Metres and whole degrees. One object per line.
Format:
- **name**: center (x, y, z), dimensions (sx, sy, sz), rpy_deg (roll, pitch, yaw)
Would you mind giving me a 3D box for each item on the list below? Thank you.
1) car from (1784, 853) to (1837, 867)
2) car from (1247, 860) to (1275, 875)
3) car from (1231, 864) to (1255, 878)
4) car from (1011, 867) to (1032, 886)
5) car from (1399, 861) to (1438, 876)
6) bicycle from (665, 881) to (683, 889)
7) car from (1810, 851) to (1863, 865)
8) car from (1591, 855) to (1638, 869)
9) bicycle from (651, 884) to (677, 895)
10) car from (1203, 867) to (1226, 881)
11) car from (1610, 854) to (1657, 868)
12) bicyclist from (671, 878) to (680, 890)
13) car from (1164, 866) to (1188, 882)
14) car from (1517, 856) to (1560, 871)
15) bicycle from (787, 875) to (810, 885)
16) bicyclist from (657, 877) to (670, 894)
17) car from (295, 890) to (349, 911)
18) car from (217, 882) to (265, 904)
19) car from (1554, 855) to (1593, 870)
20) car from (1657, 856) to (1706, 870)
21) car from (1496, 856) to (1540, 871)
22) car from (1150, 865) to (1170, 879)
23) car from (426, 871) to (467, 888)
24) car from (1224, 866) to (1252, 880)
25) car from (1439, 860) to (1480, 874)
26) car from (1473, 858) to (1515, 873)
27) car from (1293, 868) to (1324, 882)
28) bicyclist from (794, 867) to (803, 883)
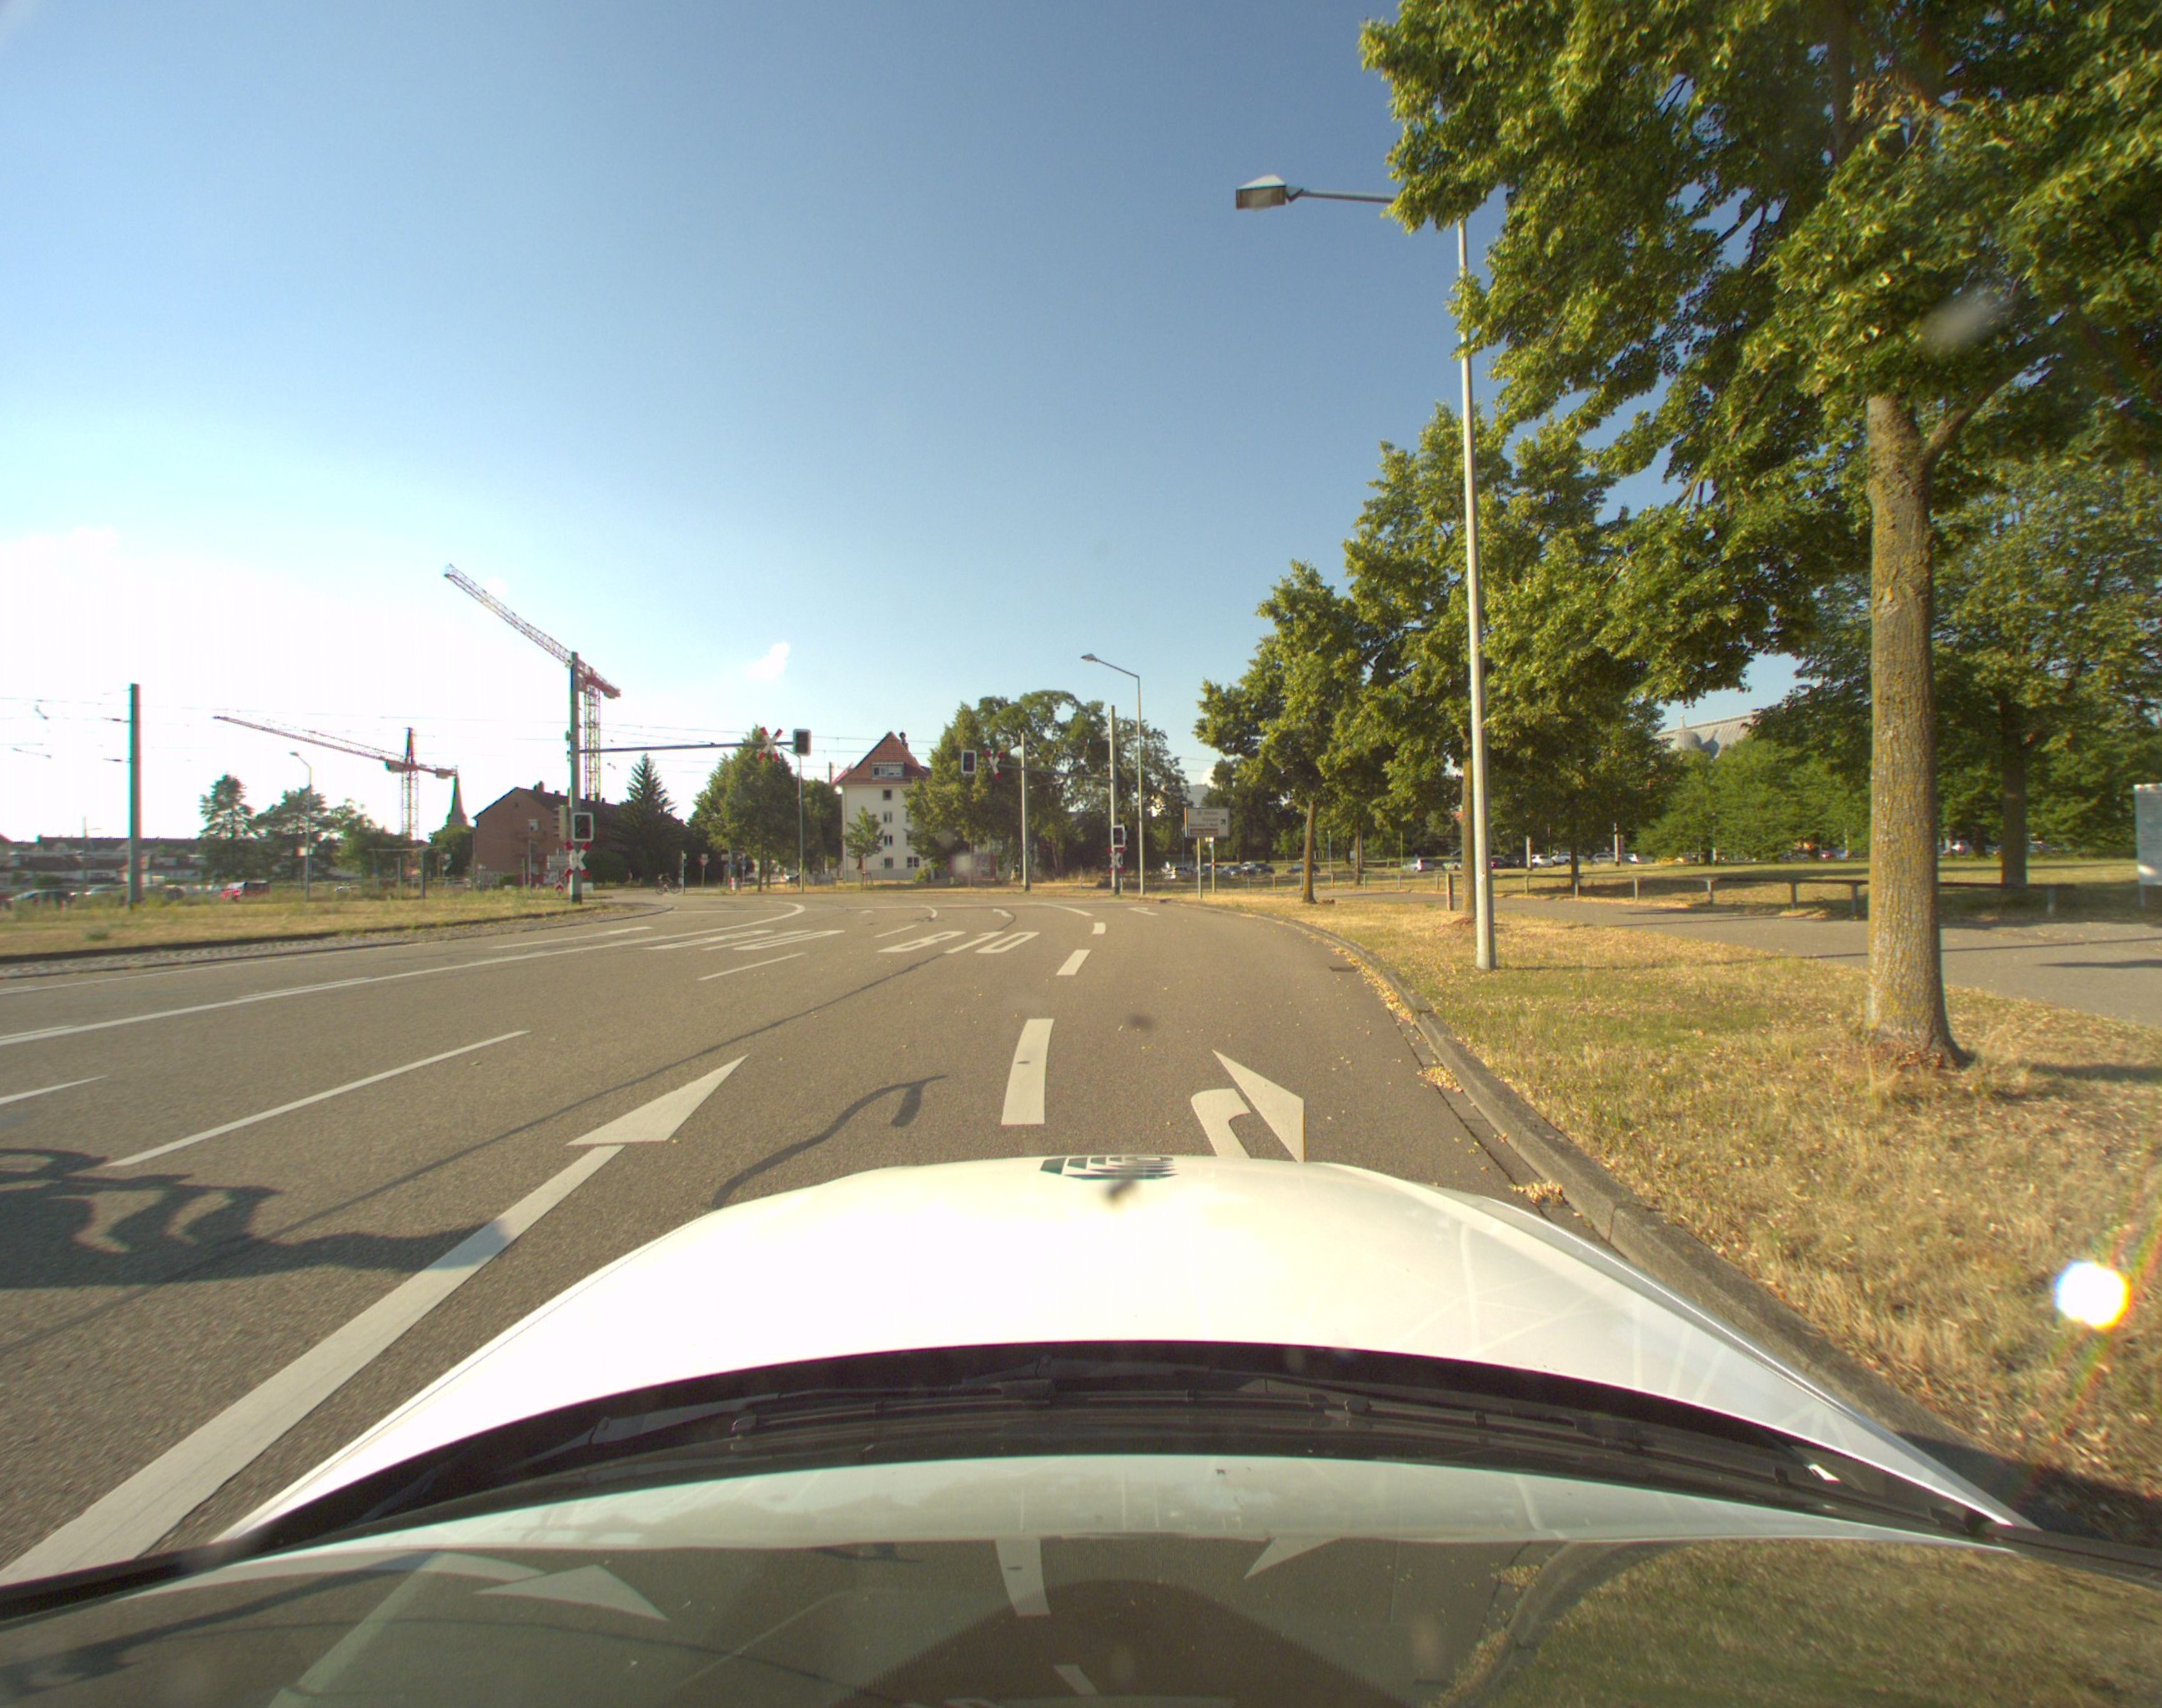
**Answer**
- **car**: center (78.316, 0.655, 87.544), dimensions (1.820, 1.403, 3.988), rpy_deg (-1, -1, -8)
- **car**: center (17.216, 1.305, 77.954), dimensions (1.598, 1.402, 3.963), rpy_deg (-1, -1, -4)
- **car**: center (17.801, 1.891, 89.774), dimensions (1.598, 1.402, 3.963), rpy_deg (-1, -1, -4)
- **car**: center (-5.425, 2.052, 74.413), dimensions (1.767, 1.618, 3.963), rpy_deg (-1, -1, -4)
- **car**: center (33.447, 1.412, 80.825), dimensions (1.820, 1.403, 3.988), rpy_deg (-1, -1, -8)
- **bicycle**: center (-53.267, 4.007, 106.556), dimensions (0.591, 0.963, 2.119), rpy_deg (-3, -2, 34)
- **car**: center (81.574, 0.490, 87.985), dimensions (1.820, 1.403, 3.988), rpy_deg (-1, -1, -8)
- **car**: center (54.717, 0.832, 83.552), dimensions (1.820, 1.403, 3.988), rpy_deg (-1, -1, -8)
- **bicycle**: center (-36.366, 3.092, 71.032), dimensions (2.003, 0.825, 0.425), rpy_deg (-1, -1, -38)
- **car**: center (14.632, 2.189, 89.538), dimensions (1.598, 1.402, 3.963), rpy_deg (-1, -1, -4)
- **car**: center (57.180, 0.748, 84.358), dimensions (1.820, 1.403, 3.988), rpy_deg (-1, -1, -8)
- **bicyclist**: center (-53.167, 3.898, 106.708), dimensions (0.651, 1.562, 0.900), rpy_deg (-3, -2, 37)
- **car**: center (8.992, 1.926, 77.198), dimensions (1.598, 1.402, 3.963), rpy_deg (-1, -1, -4)
- **car**: center (46.383, 1.009, 82.656), dimensions (1.820, 1.403, 3.988), rpy_deg (-1, -1, -8)
- **bicycle**: center (-26.545, 2.461, 76.494), dimensions (2.003, 0.918, 0.425), rpy_deg (-1, -1, -38)
- **bicyclist**: center (-36.379, 2.756, 71.001), dimensions (0.904, 1.396, 0.520), rpy_deg (-1, -1, -38)
- **car**: center (-80.006, 4.922, 85.899), dimensions (3.814, 2.014, 1.664), rpy_deg (-1, -2, -14)
- **car**: center (-73.455, 3.406, 71.229), dimensions (3.949, 1.854, 1.937), rpy_deg (-2, -1, 28)
- **car**: center (57.825, 0.983, 95.661), dimensions (1.820, 1.672, 3.988), rpy_deg (-1, -1, -8)
- **car**: center (62.839, 0.967, 85.268), dimensions (1.820, 1.403, 3.988), rpy_deg (-1, -1, -8)
- **car**: center (43.969, 0.997, 82.004), dimensions (1.820, 1.403, 3.988), rpy_deg (-1, -1, -8)
- **car**: center (8.653, 1.989, 89.465), dimensions (1.598, 1.402, 3.963), rpy_deg (-1, -1, -4)
- **car**: center (-80.952, 3.264, 103.923), dimensions (3.814, 2.014, 1.664), rpy_deg (-1, -2, -14)
- **car**: center (14.982, 1.823, 77.918), dimensions (1.598, 1.221, 3.963), rpy_deg (-1, -1, -4)
- **car**: center (37.952, 1.326, 81.787), dimensions (1.820, 1.403, 3.988), rpy_deg (-1, -1, -8)
- **car**: center (41.358, 1.151, 81.687), dimensions (1.820, 1.403, 3.988), rpy_deg (-1, -1, -8)
- **car**: center (21.832, 2.002, 78.331), dimensions (1.598, 1.310, 3.963), rpy_deg (-1, -1, -4)
- **bicyclist**: center (-26.548, 1.964, 76.512), dimensions (0.627, 1.511, 0.414), rpy_deg (-1, -1, -38)
